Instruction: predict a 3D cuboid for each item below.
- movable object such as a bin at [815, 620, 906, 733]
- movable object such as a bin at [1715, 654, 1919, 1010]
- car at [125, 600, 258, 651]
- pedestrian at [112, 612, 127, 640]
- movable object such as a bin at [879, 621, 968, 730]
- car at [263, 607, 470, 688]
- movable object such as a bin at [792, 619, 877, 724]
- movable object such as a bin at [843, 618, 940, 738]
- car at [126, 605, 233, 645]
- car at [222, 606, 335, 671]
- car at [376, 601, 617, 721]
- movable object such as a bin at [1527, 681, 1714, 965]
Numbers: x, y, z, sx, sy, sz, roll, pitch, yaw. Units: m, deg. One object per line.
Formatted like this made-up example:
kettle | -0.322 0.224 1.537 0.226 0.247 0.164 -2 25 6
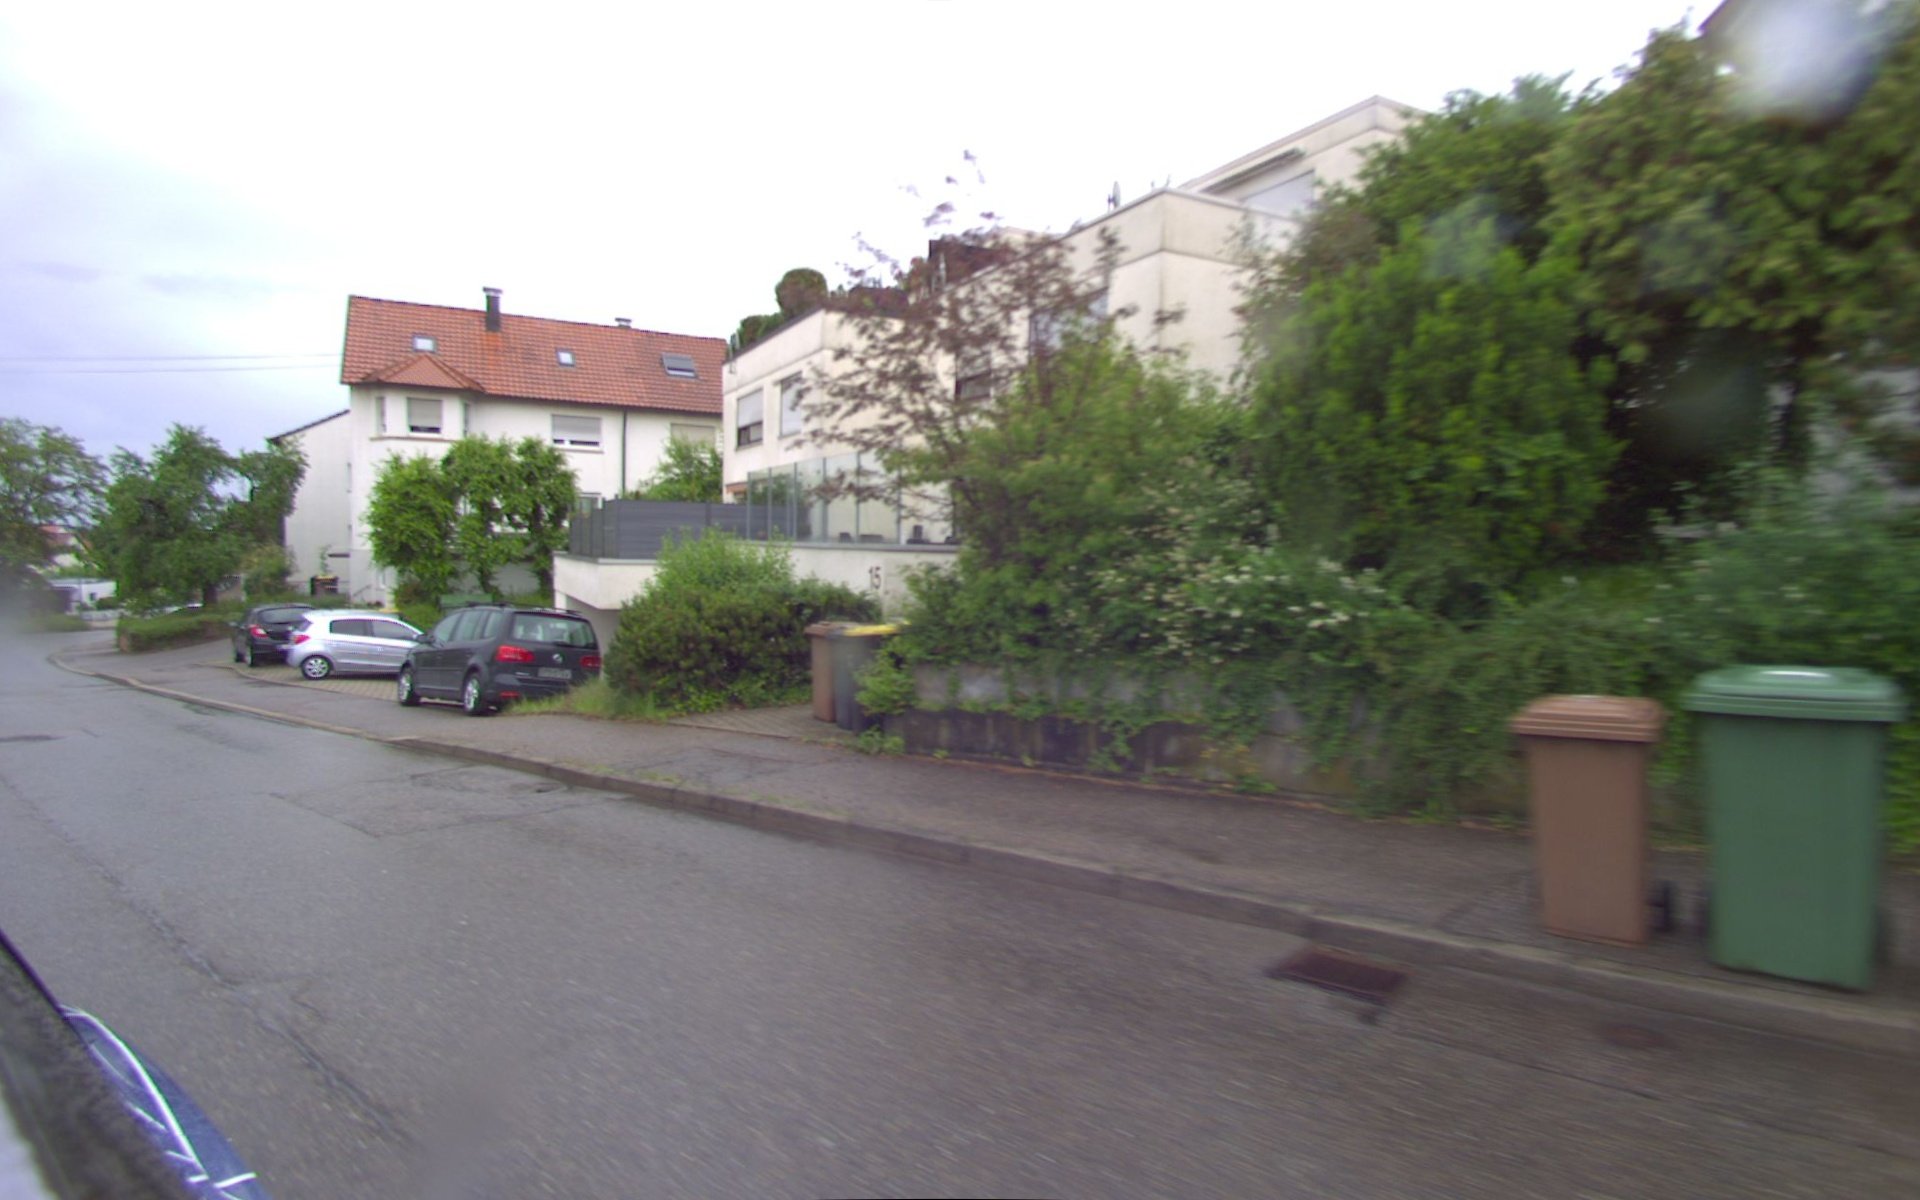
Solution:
movable object such as a bin | -1.027 0.761 10.385 0.688 1.091 0.711 0 -1 -30
movable object such as a bin | 3.044 0.749 3.528 0.637 1.072 0.597 -1 1 37
car | -33.282 1.075 43.987 4.196 1.441 1.772 -10 5 -28
pedestrian | -51.569 1.597 62.108 0.647 1.661 0.734 -1 -2 -37
movable object such as a bin | -0.397 0.779 10.795 0.688 1.091 0.711 0 -1 -30
car | -13.316 1.091 22.796 3.775 1.489 1.808 7 -4 -34
movable object such as a bin | -1.373 0.754 11.028 0.688 1.091 0.711 0 -1 -30
movable object such as a bin | -0.666 0.719 9.740 0.688 1.091 0.711 0 -1 -30
car | -43.247 1.336 56.207 4.451 1.625 1.937 -8 4 -34
car | -17.286 0.907 25.580 1.745 1.386 4.253 -5 3 -42
car | -7.286 0.841 15.710 4.416 1.609 1.784 -1 -1 41
movable object such as a bin | 2.612 0.822 3.994 0.563 0.935 0.597 -1 1 37
